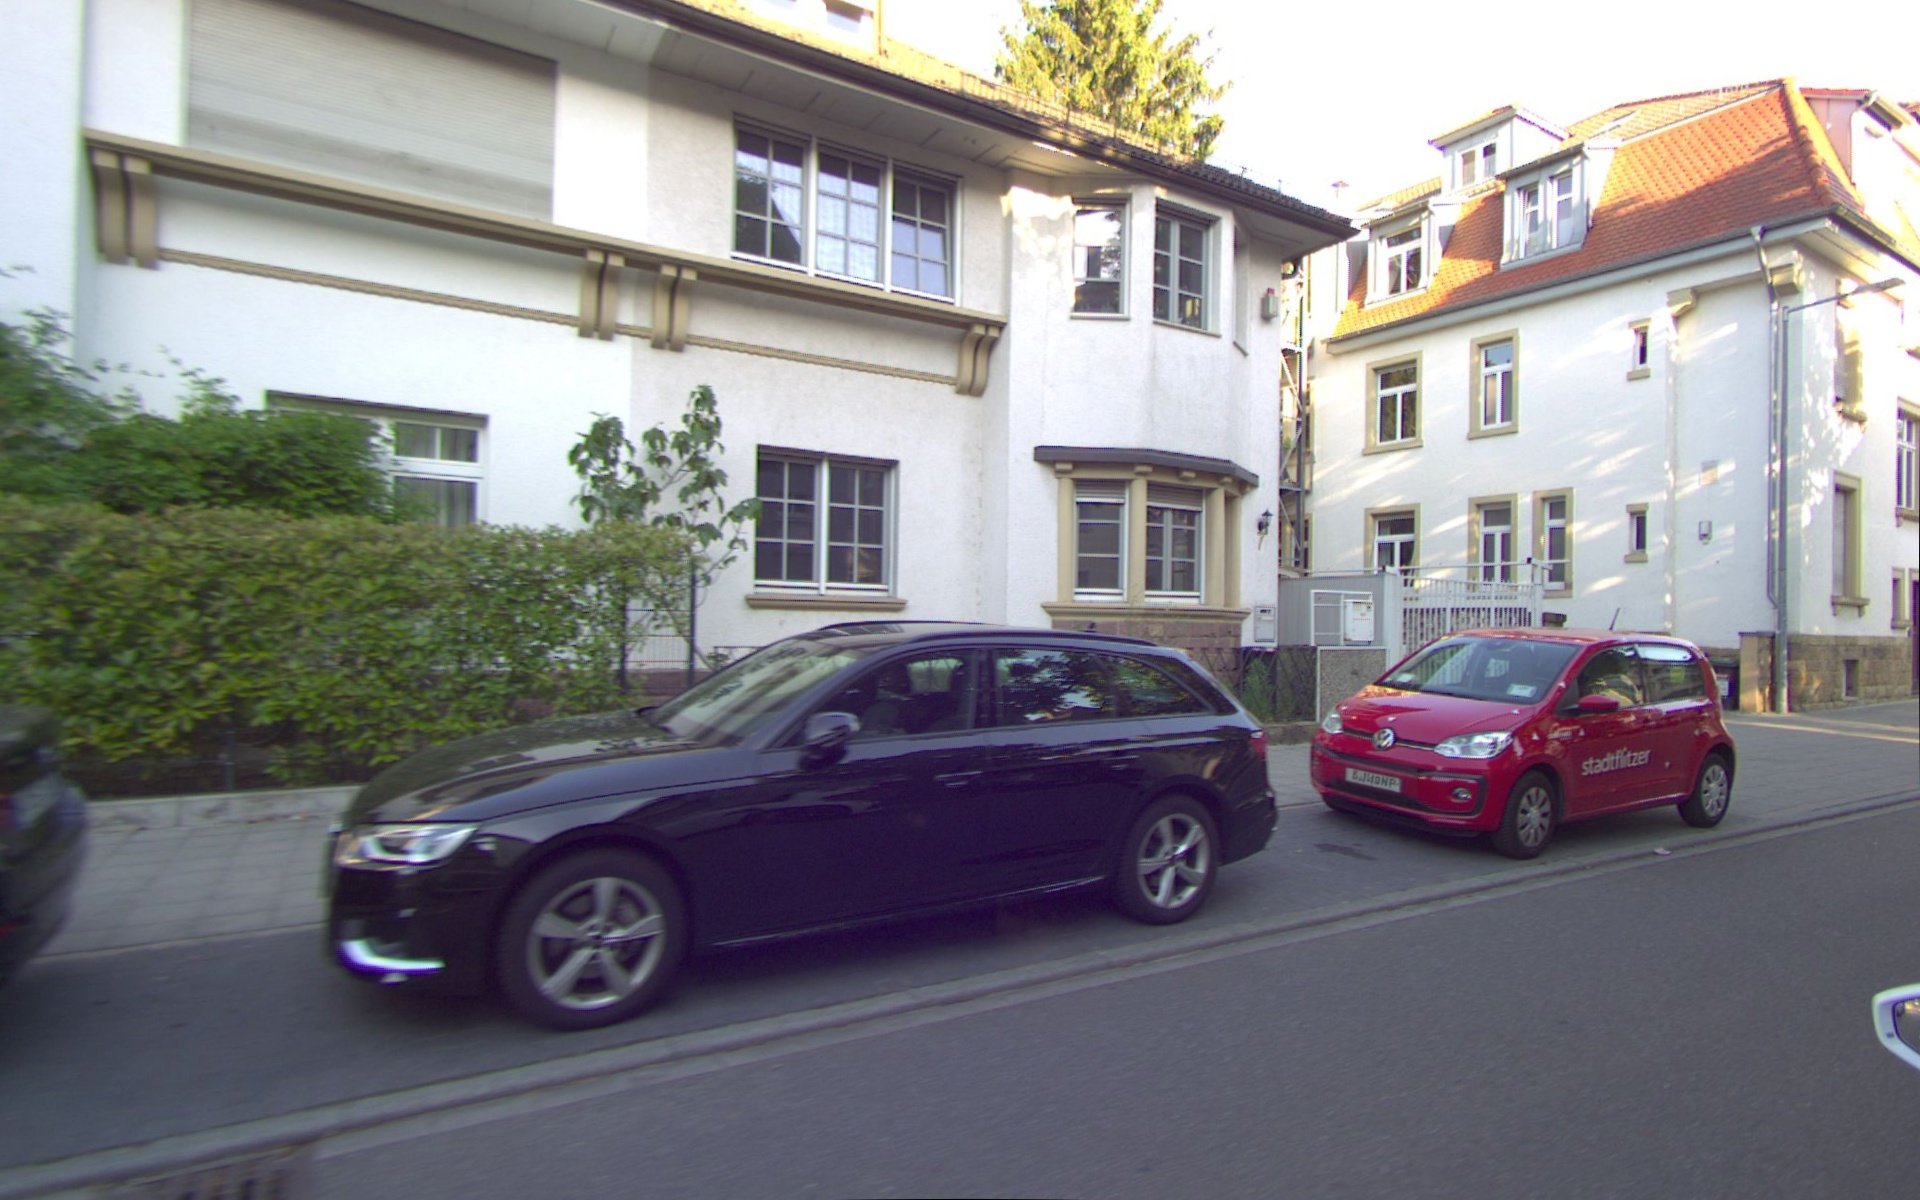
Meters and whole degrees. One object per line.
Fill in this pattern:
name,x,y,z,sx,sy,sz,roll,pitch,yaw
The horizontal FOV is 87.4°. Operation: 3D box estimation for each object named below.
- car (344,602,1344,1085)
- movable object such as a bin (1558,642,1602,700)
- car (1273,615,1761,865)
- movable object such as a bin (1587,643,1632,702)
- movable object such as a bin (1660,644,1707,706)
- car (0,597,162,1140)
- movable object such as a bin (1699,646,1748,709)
car,-0.348,0.839,5.116,4.644,1.517,1.775,2,-1,-30
movable object such as a bin,12.507,1.431,20.253,0.583,1.122,0.525,3,-1,-30
car,4.393,0.926,7.822,3.709,1.508,1.651,2,-1,-30
movable object such as a bin,12.773,1.416,19.754,0.583,1.122,0.525,3,-1,-30
movable object such as a bin,13.706,1.419,19.031,0.583,1.122,0.525,3,-1,-30
car,-4.990,0.692,2.404,4.606,1.517,1.843,2,-1,-33
movable object such as a bin,14.178,1.439,18.644,0.583,1.122,0.525,3,-1,-30
